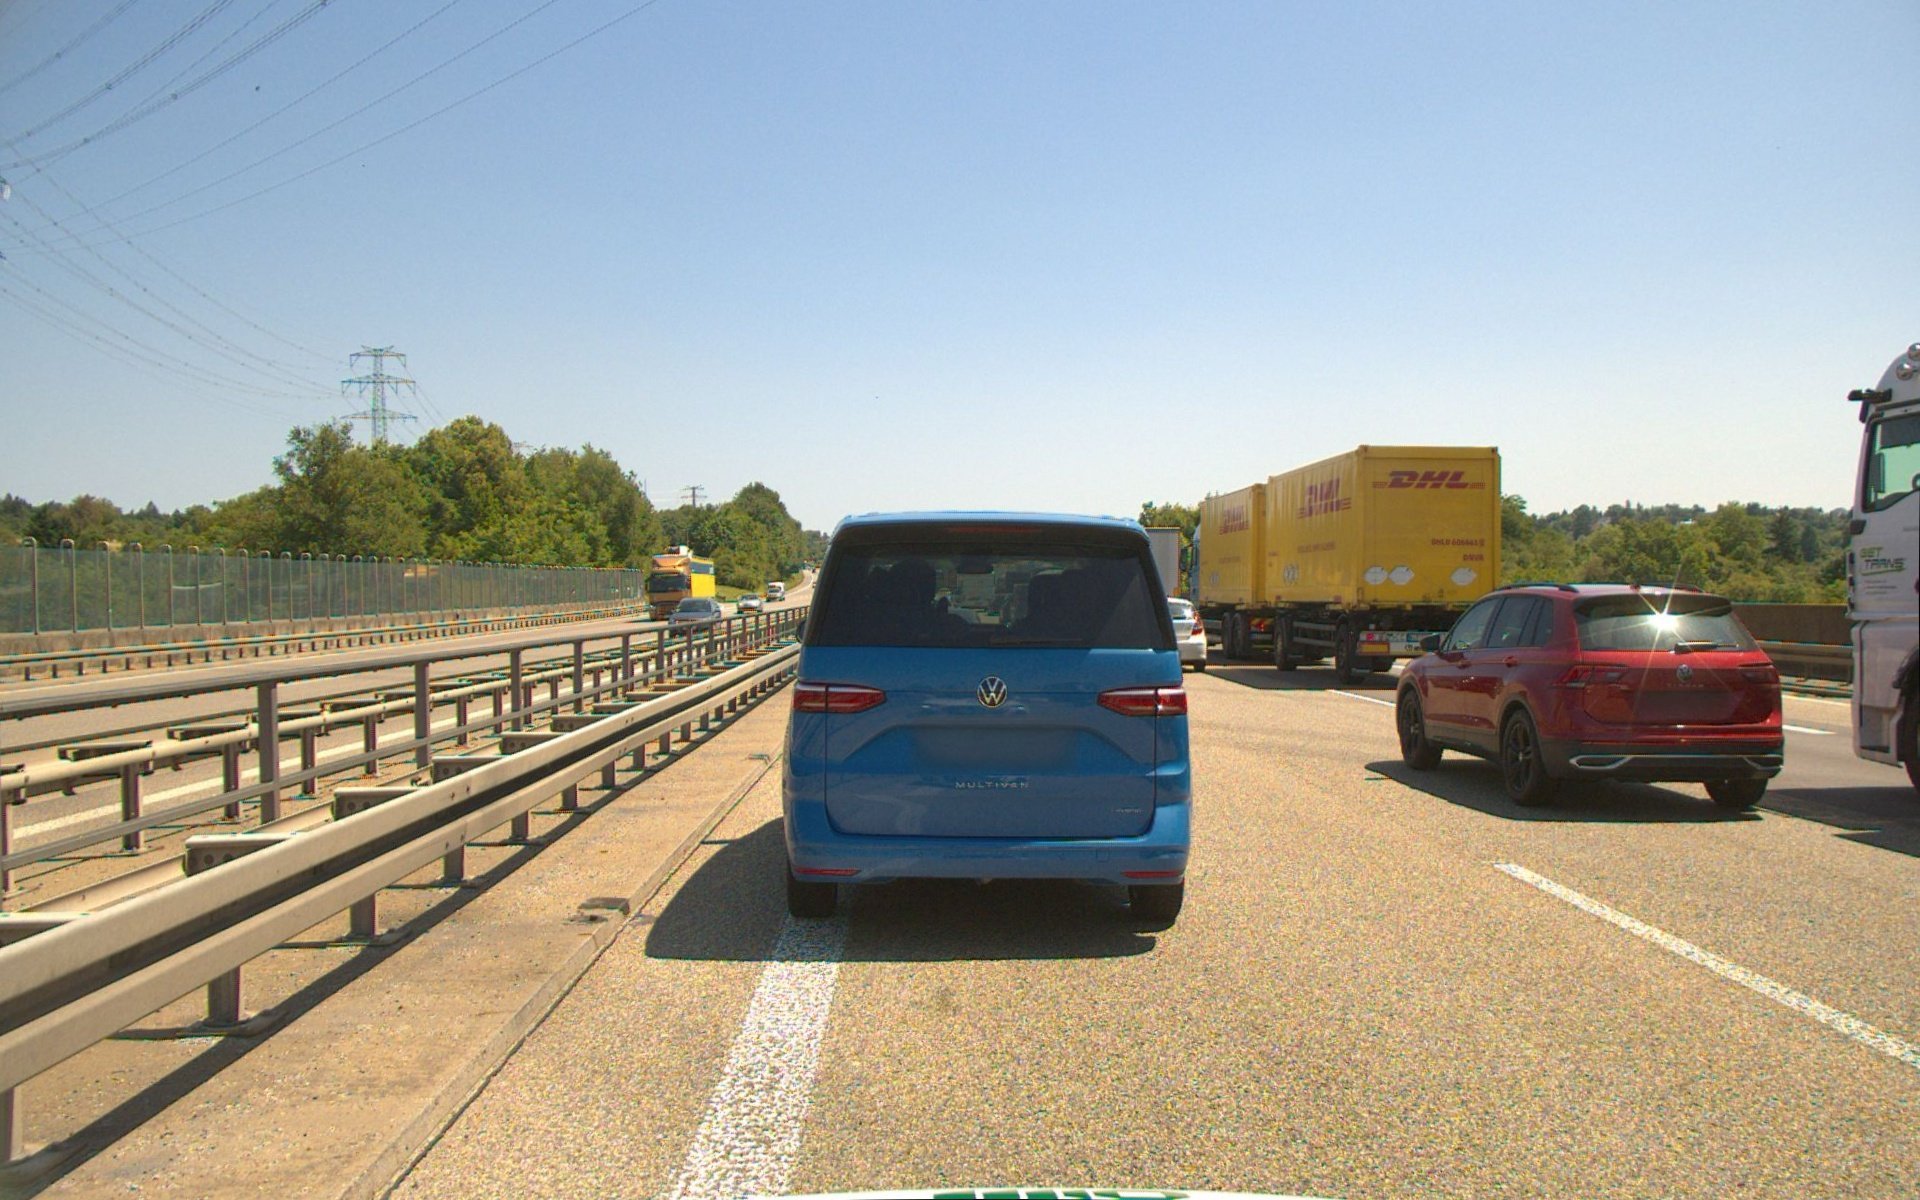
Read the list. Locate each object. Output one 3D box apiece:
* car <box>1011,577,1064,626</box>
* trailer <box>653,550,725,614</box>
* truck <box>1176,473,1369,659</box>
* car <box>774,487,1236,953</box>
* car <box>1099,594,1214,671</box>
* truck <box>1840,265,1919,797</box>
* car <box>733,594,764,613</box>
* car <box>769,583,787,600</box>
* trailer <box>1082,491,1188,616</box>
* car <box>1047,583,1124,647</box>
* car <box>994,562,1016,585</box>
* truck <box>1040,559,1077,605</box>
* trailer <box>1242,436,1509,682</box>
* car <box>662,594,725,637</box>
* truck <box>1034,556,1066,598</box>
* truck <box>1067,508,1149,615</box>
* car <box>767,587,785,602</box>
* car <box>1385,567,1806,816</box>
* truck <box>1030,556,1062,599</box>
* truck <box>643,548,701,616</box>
[{"bbox_3d":[3.240,0.051,69.411,1.922,1.970,3.931,1,0,-1],"label":"car"},{"bbox_3d":[-18.707,-1.147,114.937,2.574,4.186,14.015,0,0,0],"label":"trailer"},{"bbox_3d":[7.690,-0.743,42.183,2.645,4.159,9.935,1,0,-2],"label":"truck"},{"bbox_3d":[0.145,0.508,8.845,1.891,1.906,3.999,1,0,-1],"label":"car"},{"bbox_3d":[4.083,0.653,34.849,1.779,1.496,3.930,1,0,-3],"label":"car"},{"bbox_3d":[8.746,-0.524,8.250,2.794,4.003,10.606,1,0,-2],"label":"truck"},{"bbox_3d":[-15.843,0.249,123.972,1.654,1.326,4.013,-3,0,2],"label":"car"},{"bbox_3d":[-22.905,-1.033,208.174,1.805,2.077,3.942,1,0,-1],"label":"car"},{"bbox_3d":[6.978,-1.723,67.752,2.965,4.692,10.922,1,0,-1],"label":"trailer"},{"bbox_3d":[3.532,0.426,47.006,1.778,1.708,3.931,1,0,-1],"label":"car"},{"bbox_3d":[4.297,-2.535,159.432,1.953,2.049,3.999,1,0,-1],"label":"car"},{"bbox_3d":[5.608,-0.995,94.647,1.761,2.492,4.503,1,0,-1],"label":"truck"},{"bbox_3d":[7.877,-0.682,32.757,2.629,4.159,8.975,1,0,-3],"label":"trailer"},{"bbox_3d":[-10.025,0.548,62.462,1.726,1.534,4.222,-1,0,-1],"label":"car"},{"bbox_3d":[5.871,-1.499,108.791,1.760,2.641,4.304,1,0,-1],"label":"truck"},{"bbox_3d":[6.813,-1.684,77.186,2.965,4.692,7.919,1,0,-1],"label":"truck"},{"bbox_3d":[-22.468,-0.712,202.581,1.805,1.782,3.942,1,0,-1],"label":"car"},{"bbox_3d":[4.932,0.645,13.520,1.674,1.708,4.283,0,0,-2],"label":"car"},{"bbox_3d":[5.376,-1.362,103.500,1.706,2.593,4.209,1,0,-1],"label":"truck"},{"bbox_3d":[-18.762,-1.140,108.119,2.617,4.258,6.287,-1,0,1],"label":"truck"}]
